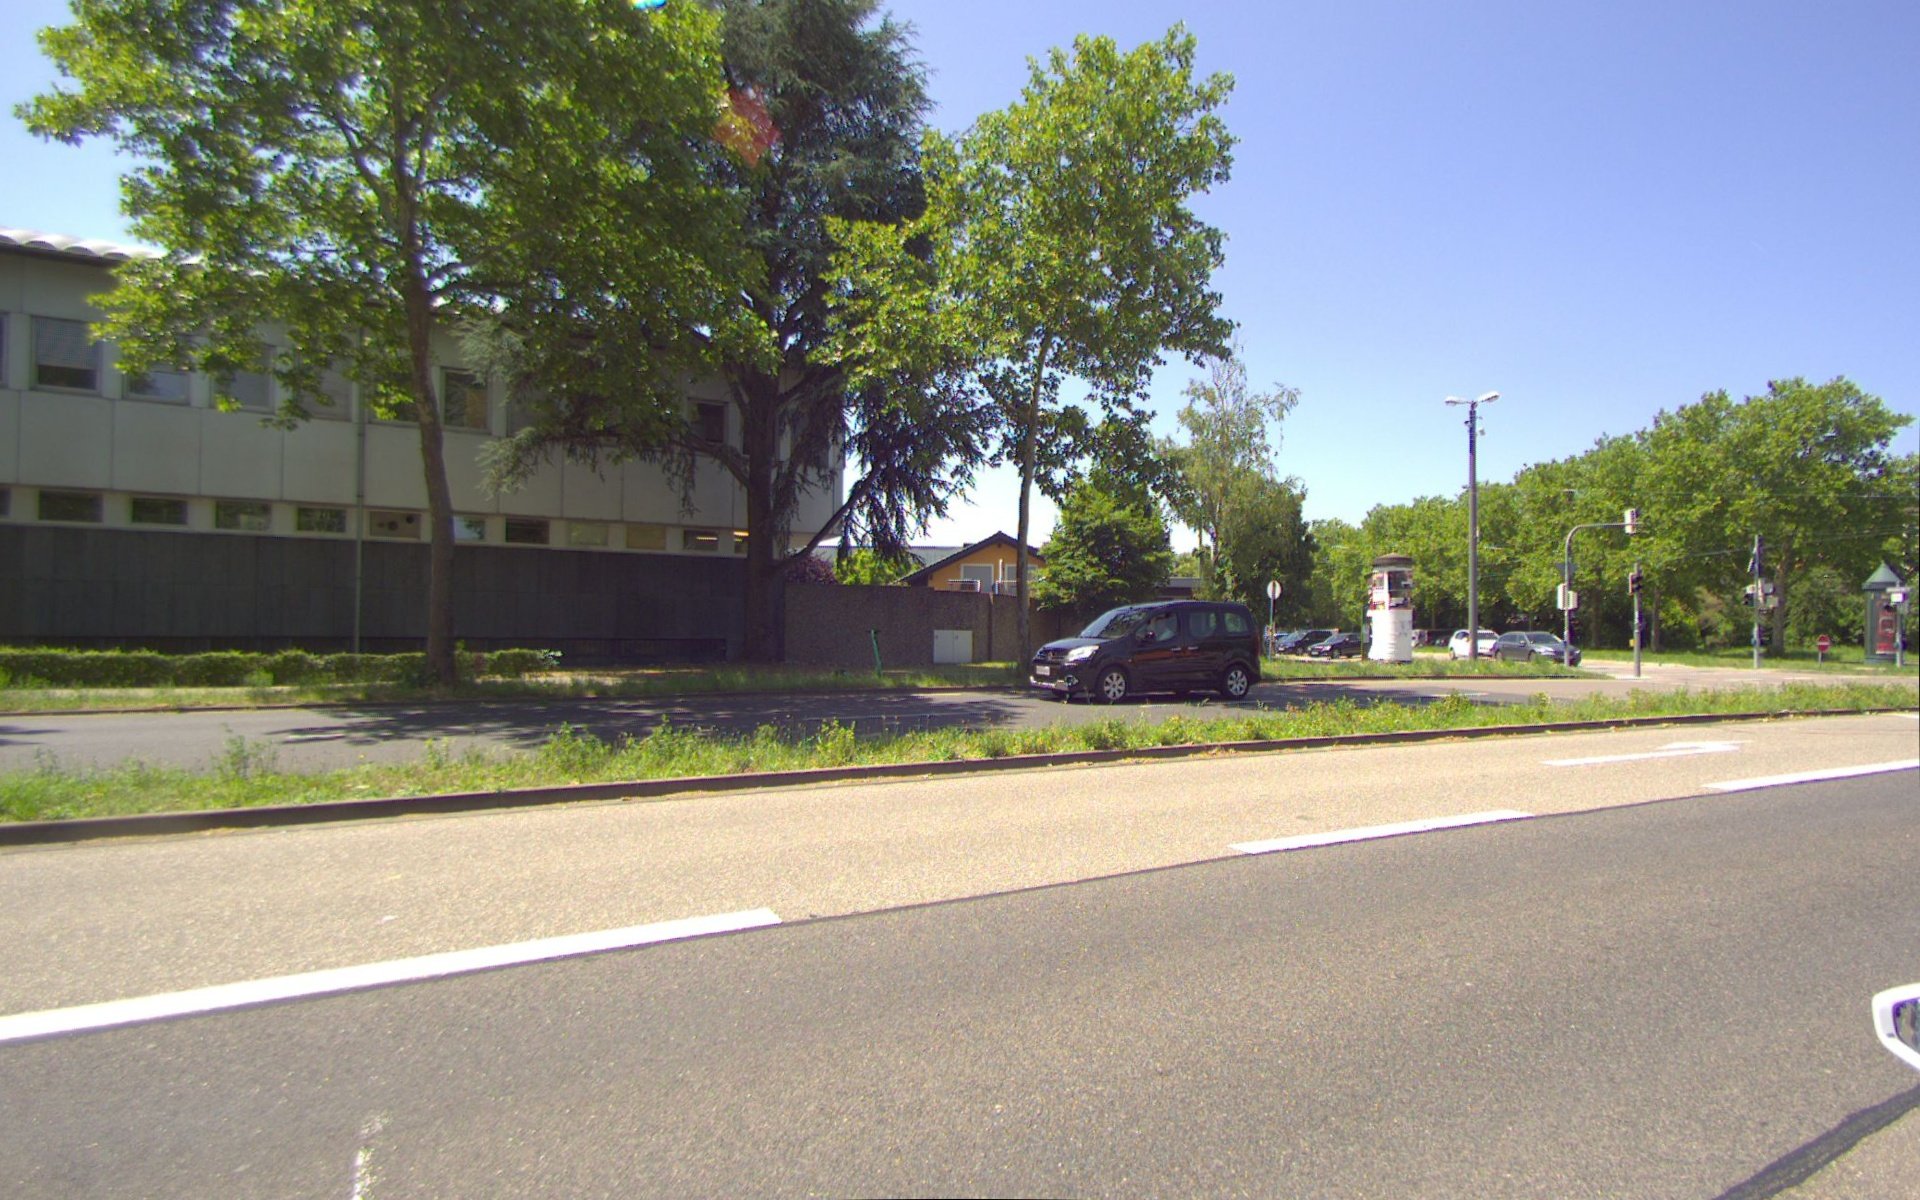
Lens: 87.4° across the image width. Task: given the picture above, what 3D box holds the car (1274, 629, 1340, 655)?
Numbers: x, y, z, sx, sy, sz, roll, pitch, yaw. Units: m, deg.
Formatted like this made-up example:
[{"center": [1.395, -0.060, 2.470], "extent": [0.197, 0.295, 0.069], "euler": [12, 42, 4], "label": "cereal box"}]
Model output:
[{"center": [23.120, 2.798, 66.987], "extent": [4.138, 1.672, 1.773], "euler": [1, -2, -26], "label": "car"}]

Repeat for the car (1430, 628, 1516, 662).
[{"center": [25.647, 2.207, 50.425], "extent": [2.172, 1.626, 4.463], "euler": [0, -1, 2], "label": "car"}]

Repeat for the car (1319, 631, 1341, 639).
[{"center": [49.817, 4.723, 135.310], "extent": [2.667, 1.007, 1.009], "euler": [1, -1, -1], "label": "car"}]

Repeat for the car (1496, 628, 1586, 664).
[{"center": [25.232, 1.985, 43.788], "extent": [1.729, 1.476, 3.994], "euler": [0, -1, 2], "label": "car"}]

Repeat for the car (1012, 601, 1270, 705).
[{"center": [3.319, 0.924, 18.328], "extent": [4.385, 1.701, 1.905], "euler": [1, -1, -26], "label": "car"}]

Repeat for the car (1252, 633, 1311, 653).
[{"center": [24.369, 3.258, 76.154], "extent": [4.004, 1.442, 1.936], "euler": [1, -2, -24], "label": "car"}]
